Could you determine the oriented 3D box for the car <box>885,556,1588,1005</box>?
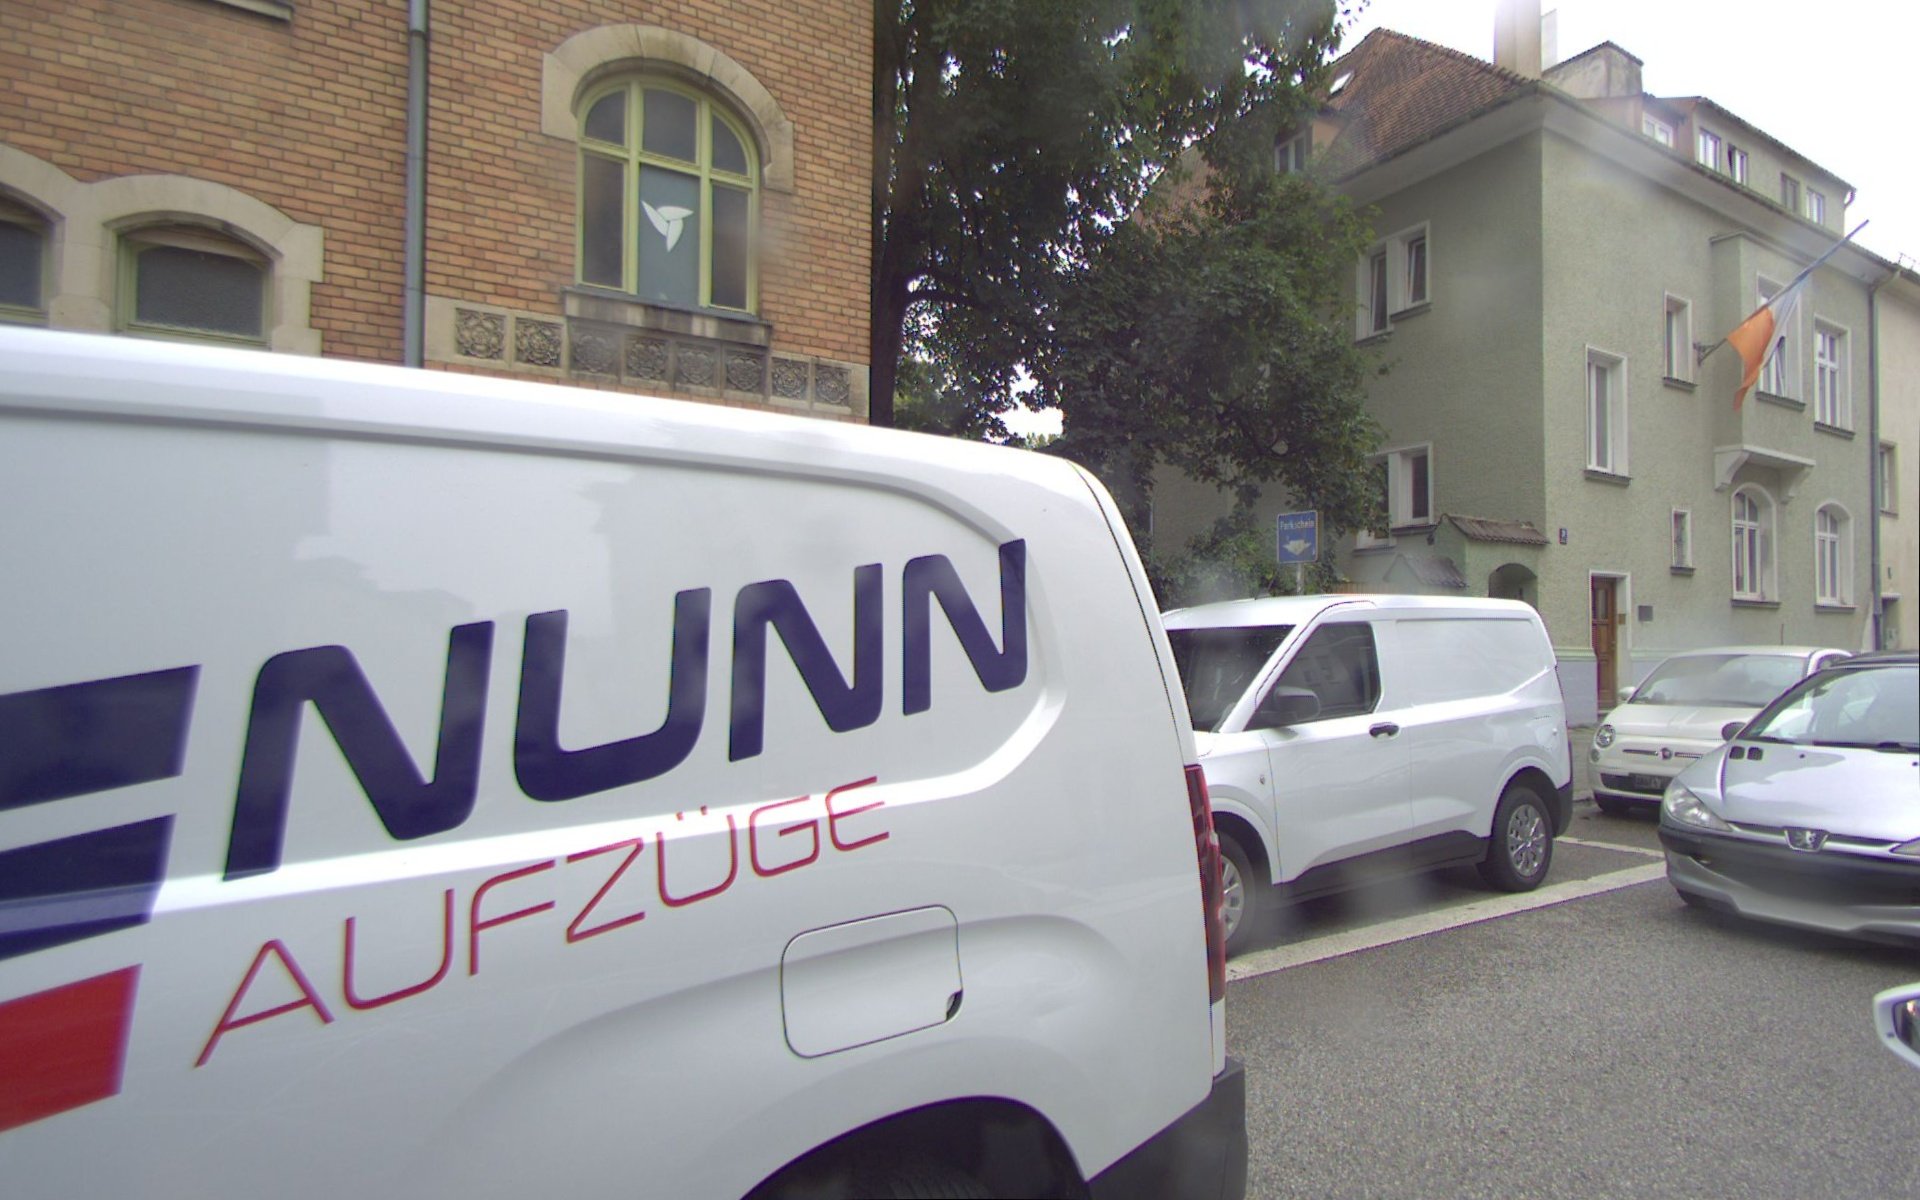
[{"bbox_3d":[1.753,0.822,5.936,4.100,1.827,1.681,1,-4,-32],"label":"car"}]

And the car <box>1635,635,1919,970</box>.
[{"bbox_3d":[5.482,0.939,5.510,3.571,1.429,1.574,2,-3,-30],"label":"car"}]

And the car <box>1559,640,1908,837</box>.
[{"bbox_3d":[7.071,1.125,9.131,3.277,1.485,1.465,2,-4,-33],"label":"car"}]

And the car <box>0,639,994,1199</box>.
[{"bbox_3d":[-2.042,0.895,3.709,4.098,1.461,1.682,1,-4,-31],"label":"car"}]

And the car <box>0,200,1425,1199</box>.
[{"bbox_3d":[-1.602,0.598,1.453,4.514,1.827,1.765,1,-4,-28],"label":"car"}]

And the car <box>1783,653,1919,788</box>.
[{"bbox_3d":[11.837,1.368,12.001,4.287,1.430,1.851,3,-5,-33],"label":"car"}]
